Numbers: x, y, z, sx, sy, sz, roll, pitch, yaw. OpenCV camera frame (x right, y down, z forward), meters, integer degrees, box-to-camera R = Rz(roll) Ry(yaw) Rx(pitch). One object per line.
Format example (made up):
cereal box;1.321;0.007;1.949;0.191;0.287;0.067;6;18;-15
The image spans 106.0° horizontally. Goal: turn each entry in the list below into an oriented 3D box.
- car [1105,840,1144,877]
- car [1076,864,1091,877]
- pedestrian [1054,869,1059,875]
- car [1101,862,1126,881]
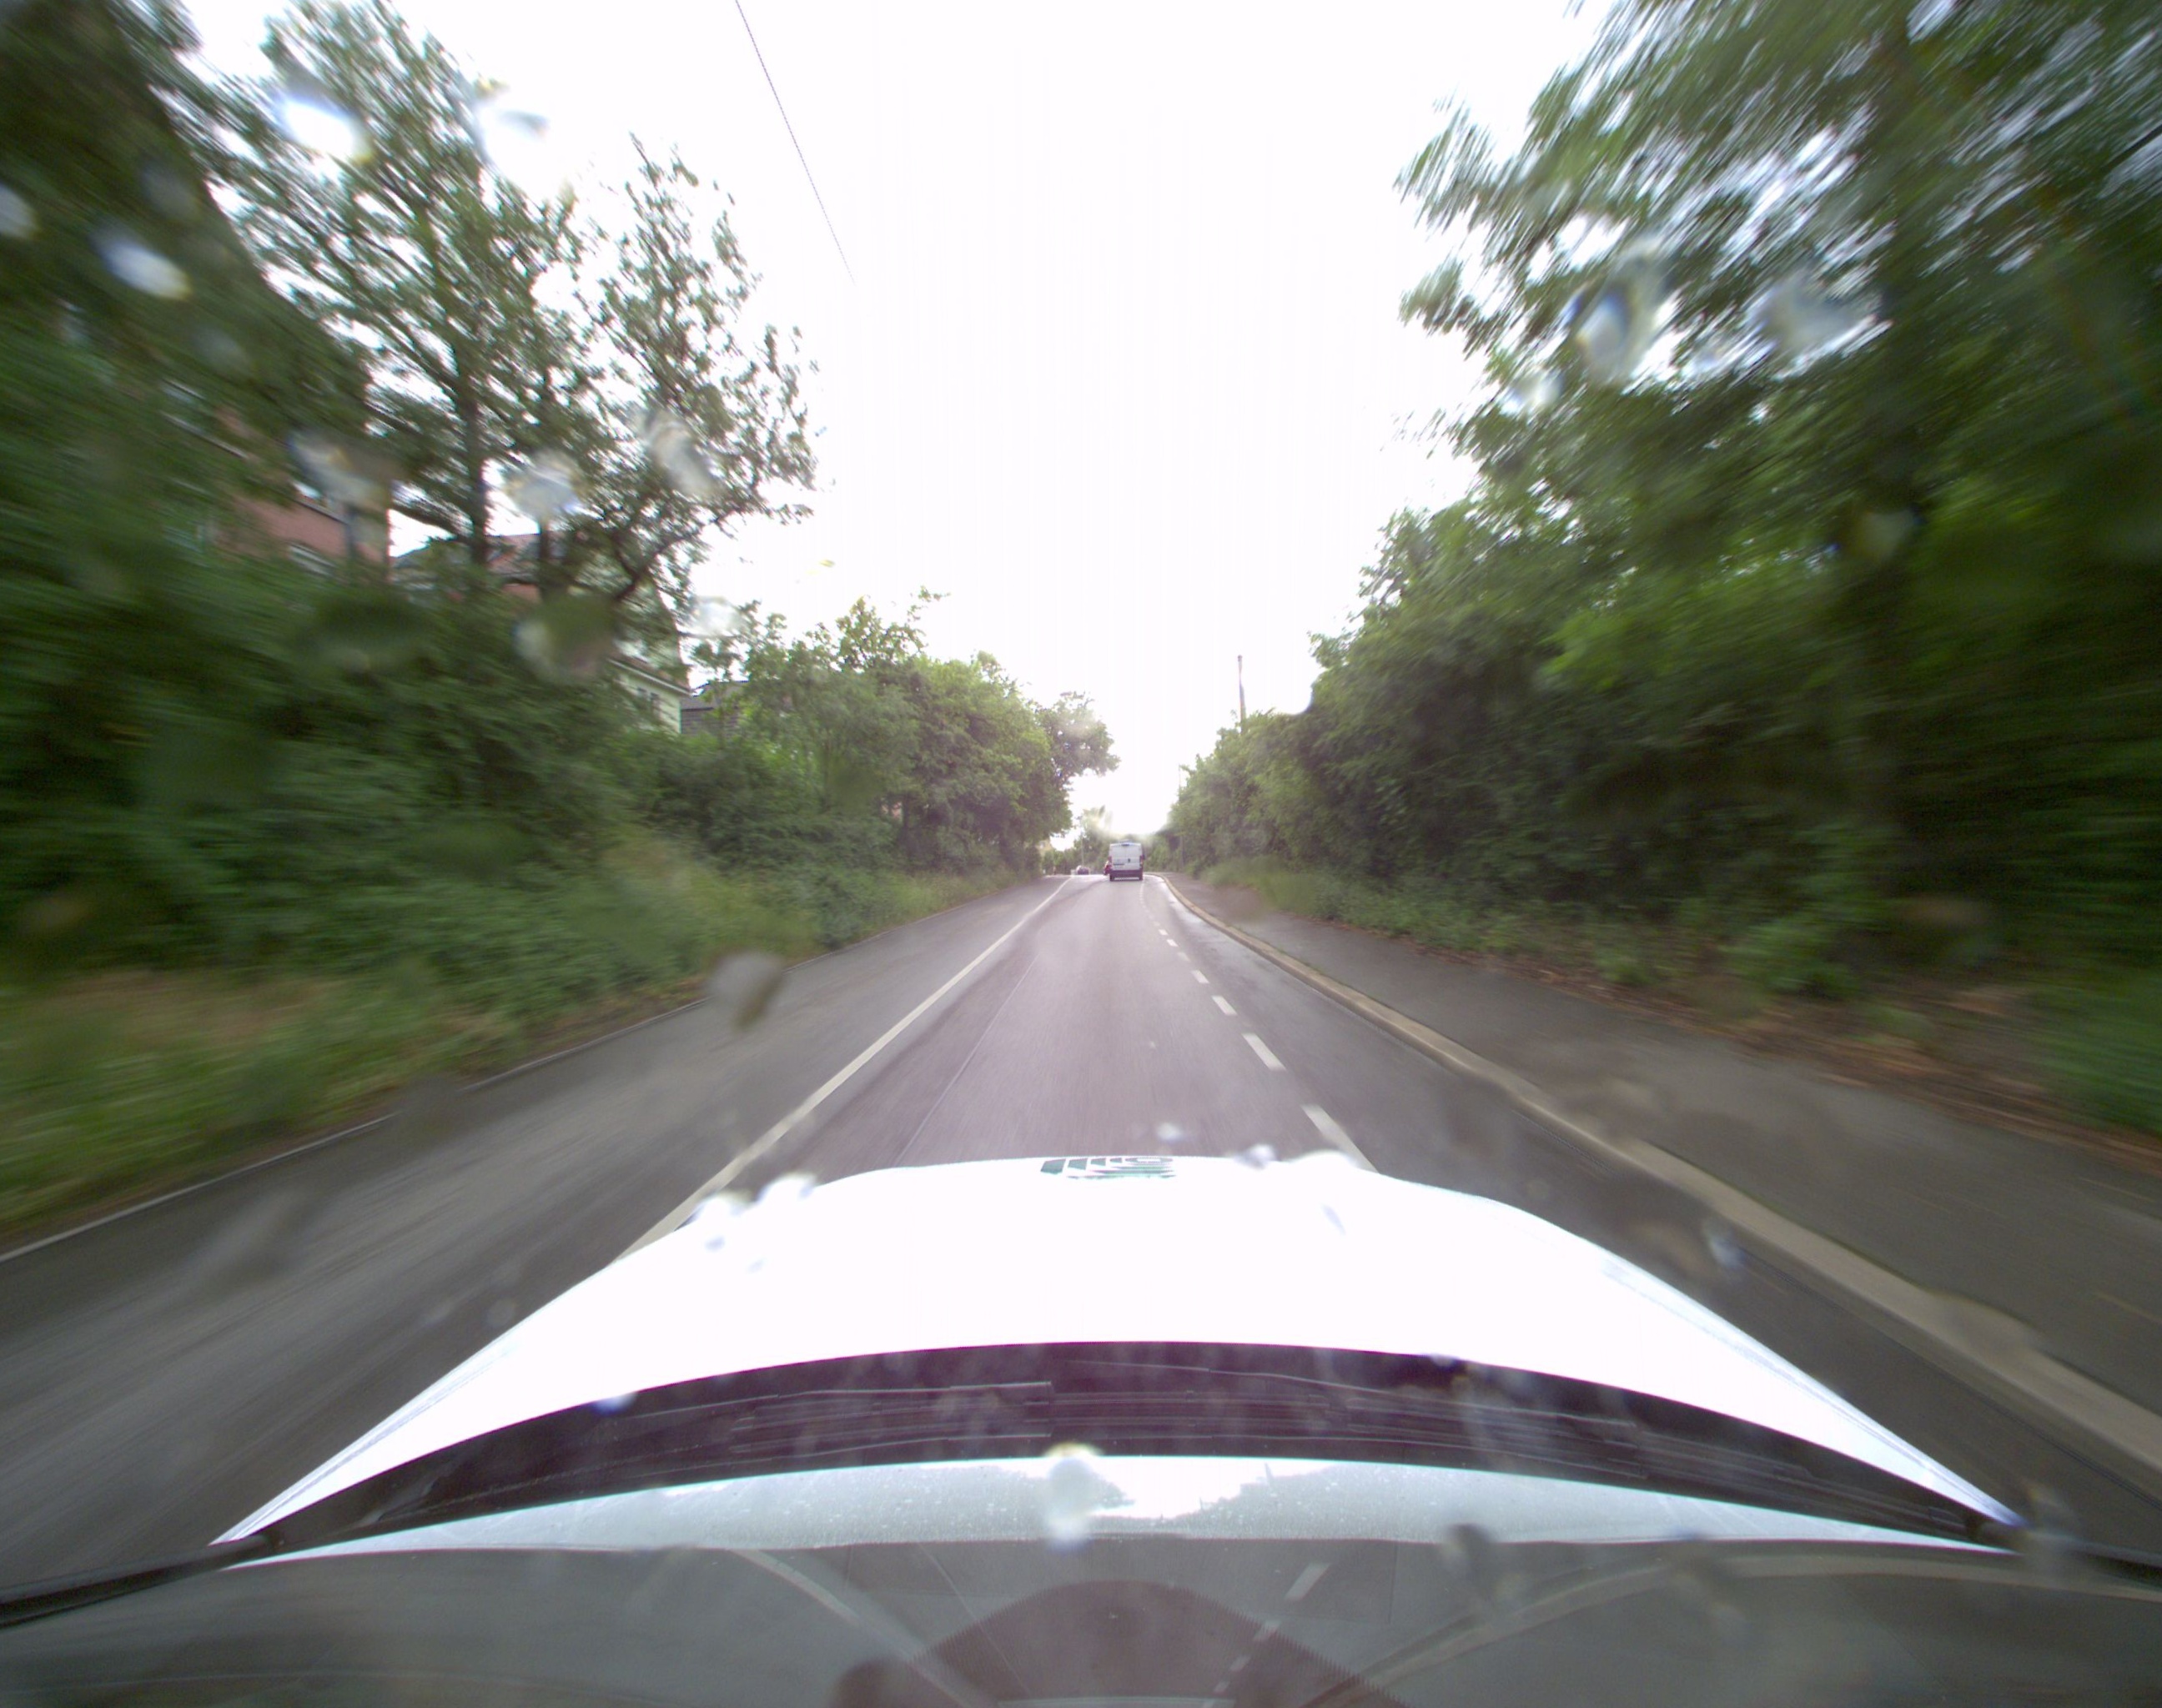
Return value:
car;2.657;0.267;50.610;2.229;2.213;4.714;0;0;1
car;0.346;2.373;120.521;2.231;1.804;4.711;0;0;-1
pedestrian;-5.107;3.734;169.975;0.879;1.367;1.062;0;0;-10
car;3.155;1.644;77.284;2.227;1.657;4.718;-1;0;4
